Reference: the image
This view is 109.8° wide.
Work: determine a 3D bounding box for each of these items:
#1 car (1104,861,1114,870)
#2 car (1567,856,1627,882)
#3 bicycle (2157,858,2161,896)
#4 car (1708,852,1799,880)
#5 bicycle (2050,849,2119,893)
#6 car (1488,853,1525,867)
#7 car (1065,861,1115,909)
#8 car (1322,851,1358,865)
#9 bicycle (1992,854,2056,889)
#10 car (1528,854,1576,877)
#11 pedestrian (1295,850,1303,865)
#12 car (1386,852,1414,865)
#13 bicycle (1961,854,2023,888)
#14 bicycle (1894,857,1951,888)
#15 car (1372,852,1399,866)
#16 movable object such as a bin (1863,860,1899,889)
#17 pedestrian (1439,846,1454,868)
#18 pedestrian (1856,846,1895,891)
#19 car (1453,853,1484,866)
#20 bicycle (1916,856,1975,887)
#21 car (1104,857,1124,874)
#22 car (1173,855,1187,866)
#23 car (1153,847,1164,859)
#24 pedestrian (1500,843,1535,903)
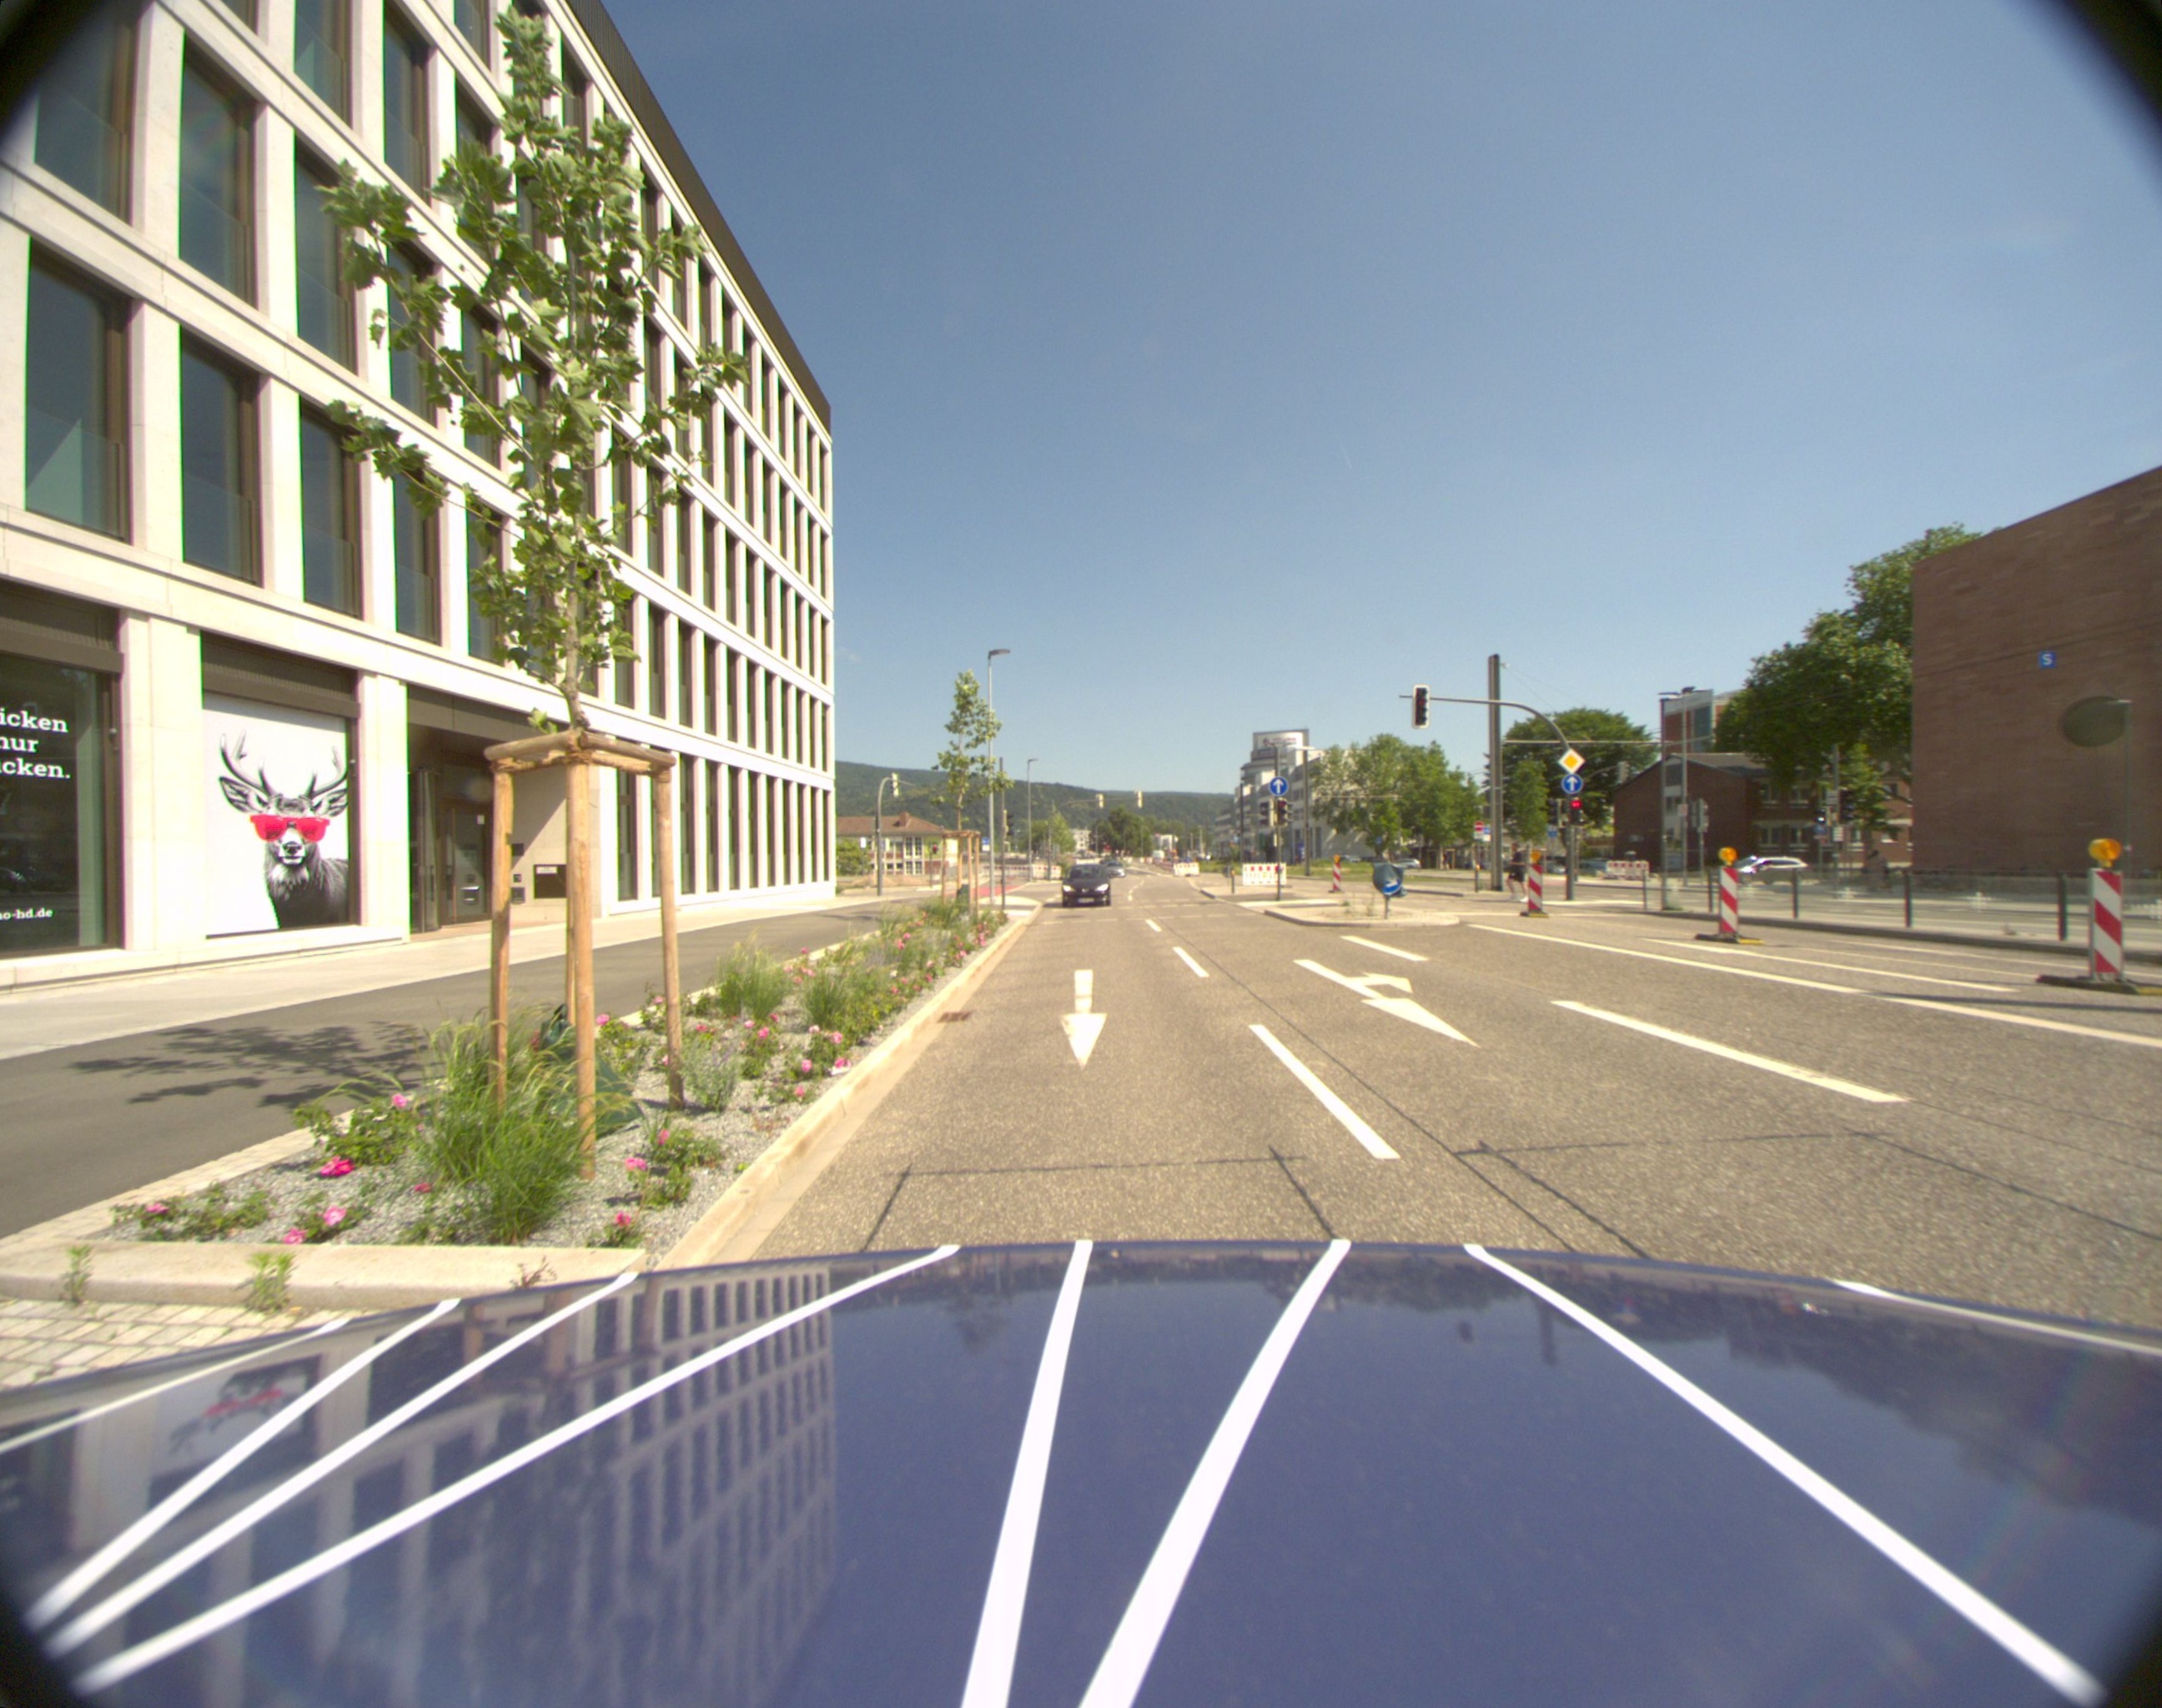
[{"bbox_3d":[4.947,1.975,132.642,1.618,1.433,3.768,-3,1,2],"label":"car"},{"bbox_3d":[39.547,1.103,58.347,1.702,1.751,4.300,-2,1,1],"label":"car"},{"bbox_3d":[35.371,0.711,24.137,2.058,1.205,0.539,-2,0,-10],"label":"bicycle"},{"bbox_3d":[36.332,0.619,41.097,3.487,1.362,1.573,-2,0,0],"label":"car"},{"bbox_3d":[34.698,0.563,26.268,2.058,1.444,0.539,-2,0,-10],"label":"bicycle"},{"bbox_3d":[45.336,0.635,81.070,1.542,1.448,4.267,-1,0,1],"label":"car"},{"bbox_3d":[0.312,1.019,26.416,1.618,1.433,3.706,-1,1,1],"label":"car"},{"bbox_3d":[40.497,0.601,118.804,5.063,2.167,2.117,-1,1,28],"label":"car"},{"bbox_3d":[34.436,0.618,27.752,2.058,1.205,0.539,-2,0,-10],"label":"bicycle"},{"bbox_3d":[39.502,0.966,63.825,1.702,1.751,3.939,-2,1,1],"label":"car"},{"bbox_3d":[30.851,0.507,107.468,0.841,2.002,0.983,-2,1,3],"label":"pedestrian"},{"bbox_3d":[41.049,0.544,97.779,1.773,1.581,3.636,-3,0,-4],"label":"car"},{"bbox_3d":[34.276,0.649,28.589,2.058,1.205,0.539,-2,0,-10],"label":"bicycle"},{"bbox_3d":[34.119,0.730,30.812,2.058,1.205,0.539,-1,0,-10],"label":"bicycle"},{"bbox_3d":[38.695,0.625,96.604,1.773,1.581,3.636,-3,0,-4],"label":"car"},{"bbox_3d":[29.232,0.752,27.763,0.716,1.025,0.792,-2,0,-34],"label":"movable object such as a bin"},{"bbox_3d":[31.341,0.258,65.171,0.813,1.836,1.108,-1,0,7],"label":"pedestrian"},{"bbox_3d":[28.540,0.513,27.287,0.934,1.553,0.792,-2,0,-34],"label":"pedestrian"},{"bbox_3d":[48.458,0.677,95.023,1.773,1.581,3.636,-3,0,-4],"label":"car"},{"bbox_3d":[34.212,0.697,30.069,2.058,1.205,0.539,0,1,-10],"label":"bicycle"},{"bbox_3d":[2.927,1.032,68.257,1.618,1.433,3.768,-1,0,0],"label":"car"},{"bbox_3d":[13.261,0.891,101.845,1.631,1.419,4.292,-1,0,5],"label":"car"},{"bbox_3d":[17.216,-0.249,169.586,2.082,2.724,5.987,-1,0,2],"label":"car"},{"bbox_3d":[13.502,0.579,23.522,0.654,1.823,0.661,-2,0,5],"label":"pedestrian"}]
